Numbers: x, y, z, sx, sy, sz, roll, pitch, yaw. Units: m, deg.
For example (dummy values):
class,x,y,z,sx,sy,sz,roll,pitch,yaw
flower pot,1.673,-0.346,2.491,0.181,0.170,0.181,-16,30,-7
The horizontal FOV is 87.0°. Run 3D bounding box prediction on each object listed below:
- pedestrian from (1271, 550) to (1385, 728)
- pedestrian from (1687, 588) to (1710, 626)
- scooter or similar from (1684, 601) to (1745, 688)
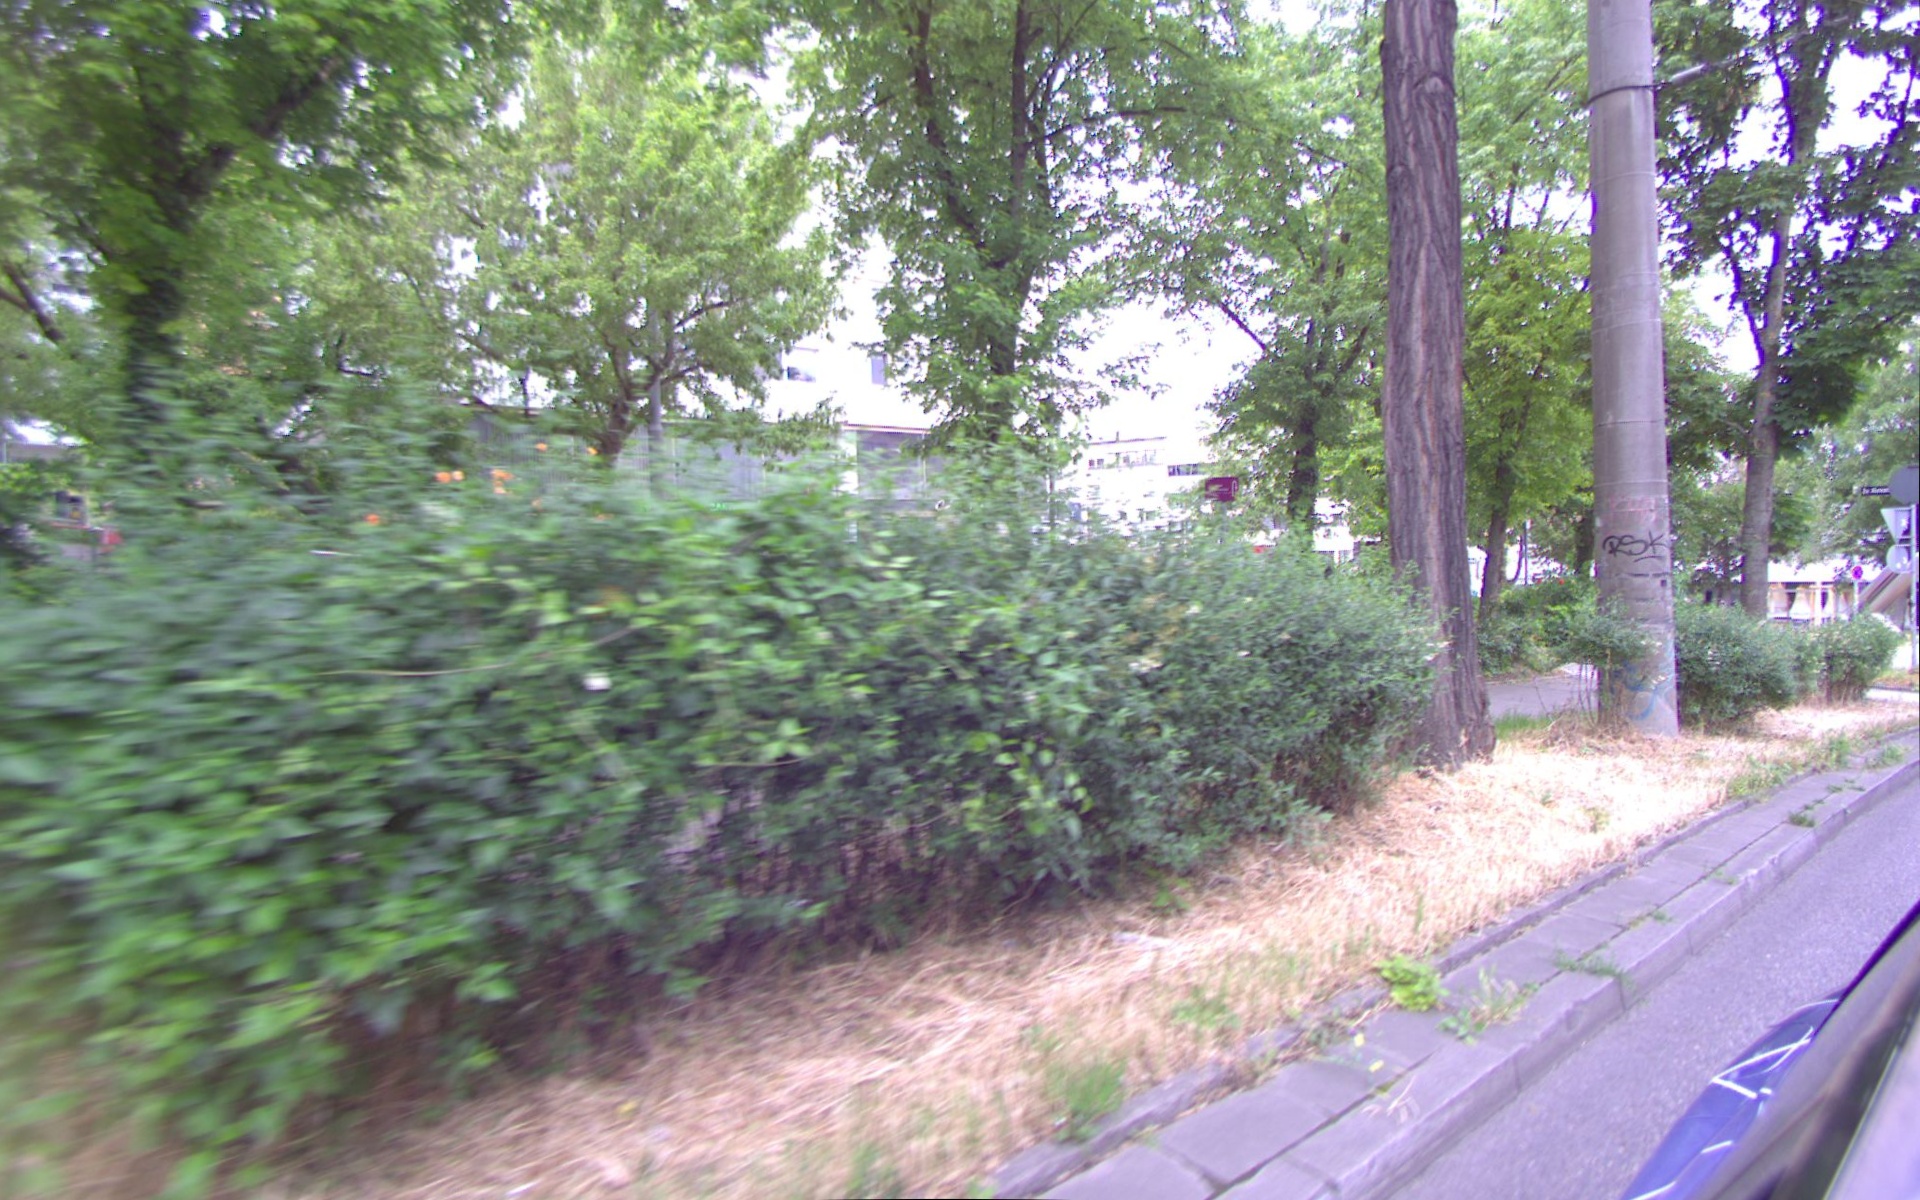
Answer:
class,x,y,z,sx,sy,sz,roll,pitch,yaw
pedestrian,3.758,0.375,10.350,0.770,1.724,0.774,1,0,-36
pedestrian,31.491,0.292,43.163,0.721,1.622,0.784,1,1,32
scooter or similar,11.517,0.644,15.434,0.629,1.225,1.535,1,1,40
